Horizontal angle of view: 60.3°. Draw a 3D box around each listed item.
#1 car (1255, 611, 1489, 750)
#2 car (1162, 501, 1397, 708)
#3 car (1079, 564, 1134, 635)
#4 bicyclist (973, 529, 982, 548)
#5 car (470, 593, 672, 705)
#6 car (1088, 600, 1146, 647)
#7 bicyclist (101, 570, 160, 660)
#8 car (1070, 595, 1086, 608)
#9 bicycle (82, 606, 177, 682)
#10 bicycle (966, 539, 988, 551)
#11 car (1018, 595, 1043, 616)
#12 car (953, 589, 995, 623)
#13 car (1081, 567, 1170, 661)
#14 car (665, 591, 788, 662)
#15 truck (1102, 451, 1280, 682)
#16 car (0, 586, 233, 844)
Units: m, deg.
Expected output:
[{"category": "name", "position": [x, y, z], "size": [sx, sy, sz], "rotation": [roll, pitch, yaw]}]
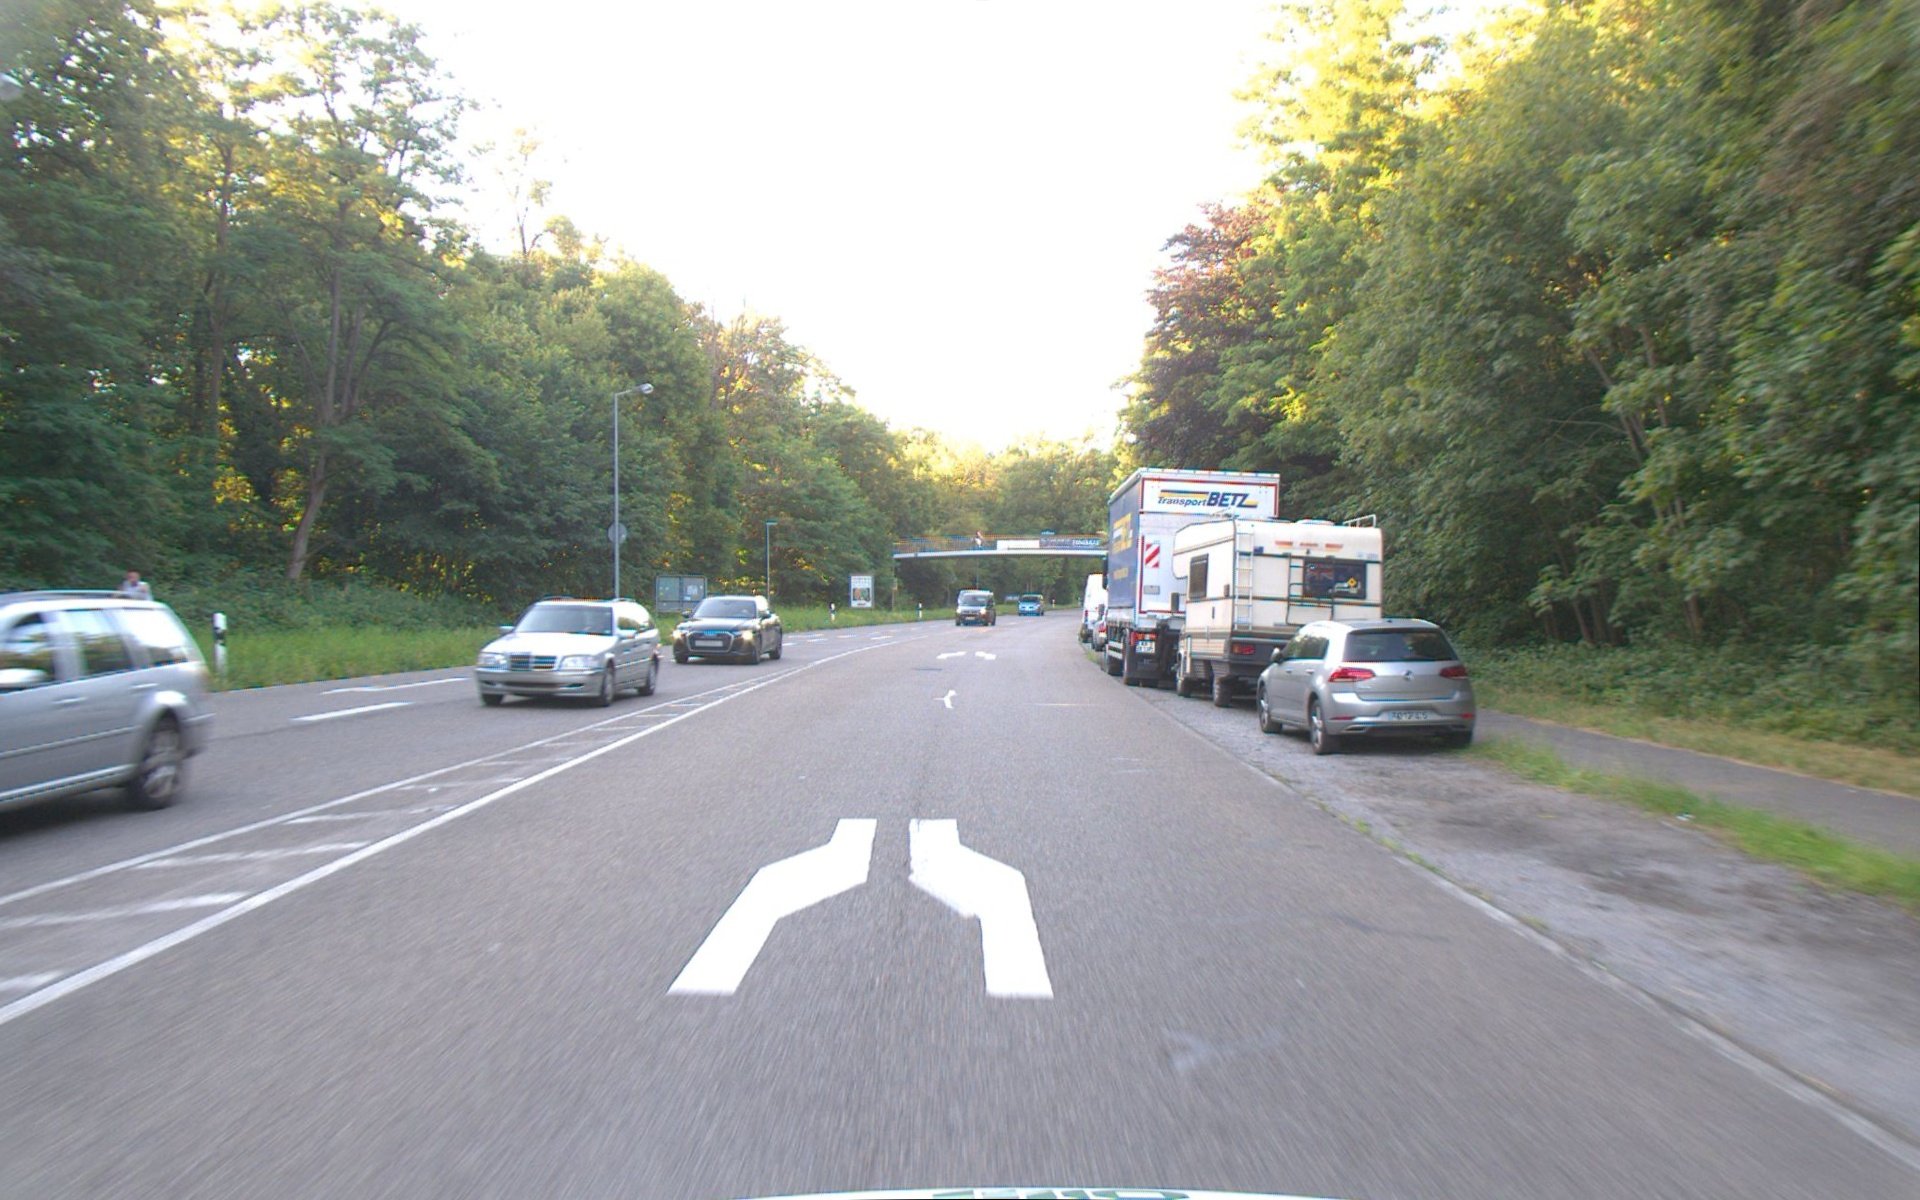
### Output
[{"category": "car", "position": [4.729, 0.865, 19.558], "size": [1.664, 1.430, 4.074], "rotation": [0, 0, -2]}, {"category": "car", "position": [4.891, 0.064, 26.401], "size": [2.360, 2.908, 5.929], "rotation": [1, 0, -2]}, {"category": "car", "position": [5.678, -0.027, 64.637], "size": [1.923, 2.555, 6.018], "rotation": [2, 0, 4]}, {"category": "bicyclist", "position": [1.510, -5.247, 140.900], "size": [0.650, 1.609, 0.548], "rotation": [1, 0, 9]}, {"category": "car", "position": [-5.375, 0.617, 23.430], "size": [1.684, 1.422, 4.376], "rotation": [0, 0, 2]}, {"category": "car", "position": [5.083, 0.725, 53.968], "size": [1.648, 1.397, 4.272], "rotation": [2, 0, 2]}, {"category": "bicyclist", "position": [-14.575, 0.256, 29.073], "size": [0.607, 1.537, 0.847], "rotation": [-1, 1, -3]}, {"category": "car", "position": [14.503, 0.174, 202.964], "size": [1.851, 1.473, 4.113], "rotation": [0, 0, 7]}, {"category": "bicycle", "position": [-14.576, 0.752, 29.105], "size": [0.617, 1.239, 2.260], "rotation": [-1, 1, -3]}, {"category": "bicycle", "position": [1.453, -4.662, 140.901], "size": [1.805, 0.965, 0.551], "rotation": [1, 0, 9]}, {"category": "car", "position": [5.946, 0.445, 140.000], "size": [1.804, 1.766, 4.003], "rotation": [1, 0, 6]}, {"category": "car", "position": [0.824, 0.313, 91.822], "size": [1.804, 1.831, 4.751], "rotation": [1, 0, 7]}, {"category": "car", "position": [4.248, 0.335, 43.175], "size": [1.952, 2.227, 4.930], "rotation": [2, 0, 2]}, {"category": "car", "position": [-5.216, 0.555, 37.562], "size": [1.852, 1.465, 4.771], "rotation": [1, 0, 3]}, {"category": "truck", "position": [4.530, -0.625, 34.346], "size": [2.602, 4.098, 9.724], "rotation": [0, 0, 2]}, {"category": "car", "position": [-6.297, 0.654, 10.210], "size": [1.680, 1.471, 4.174], "rotation": [0, 0, 2]}]
